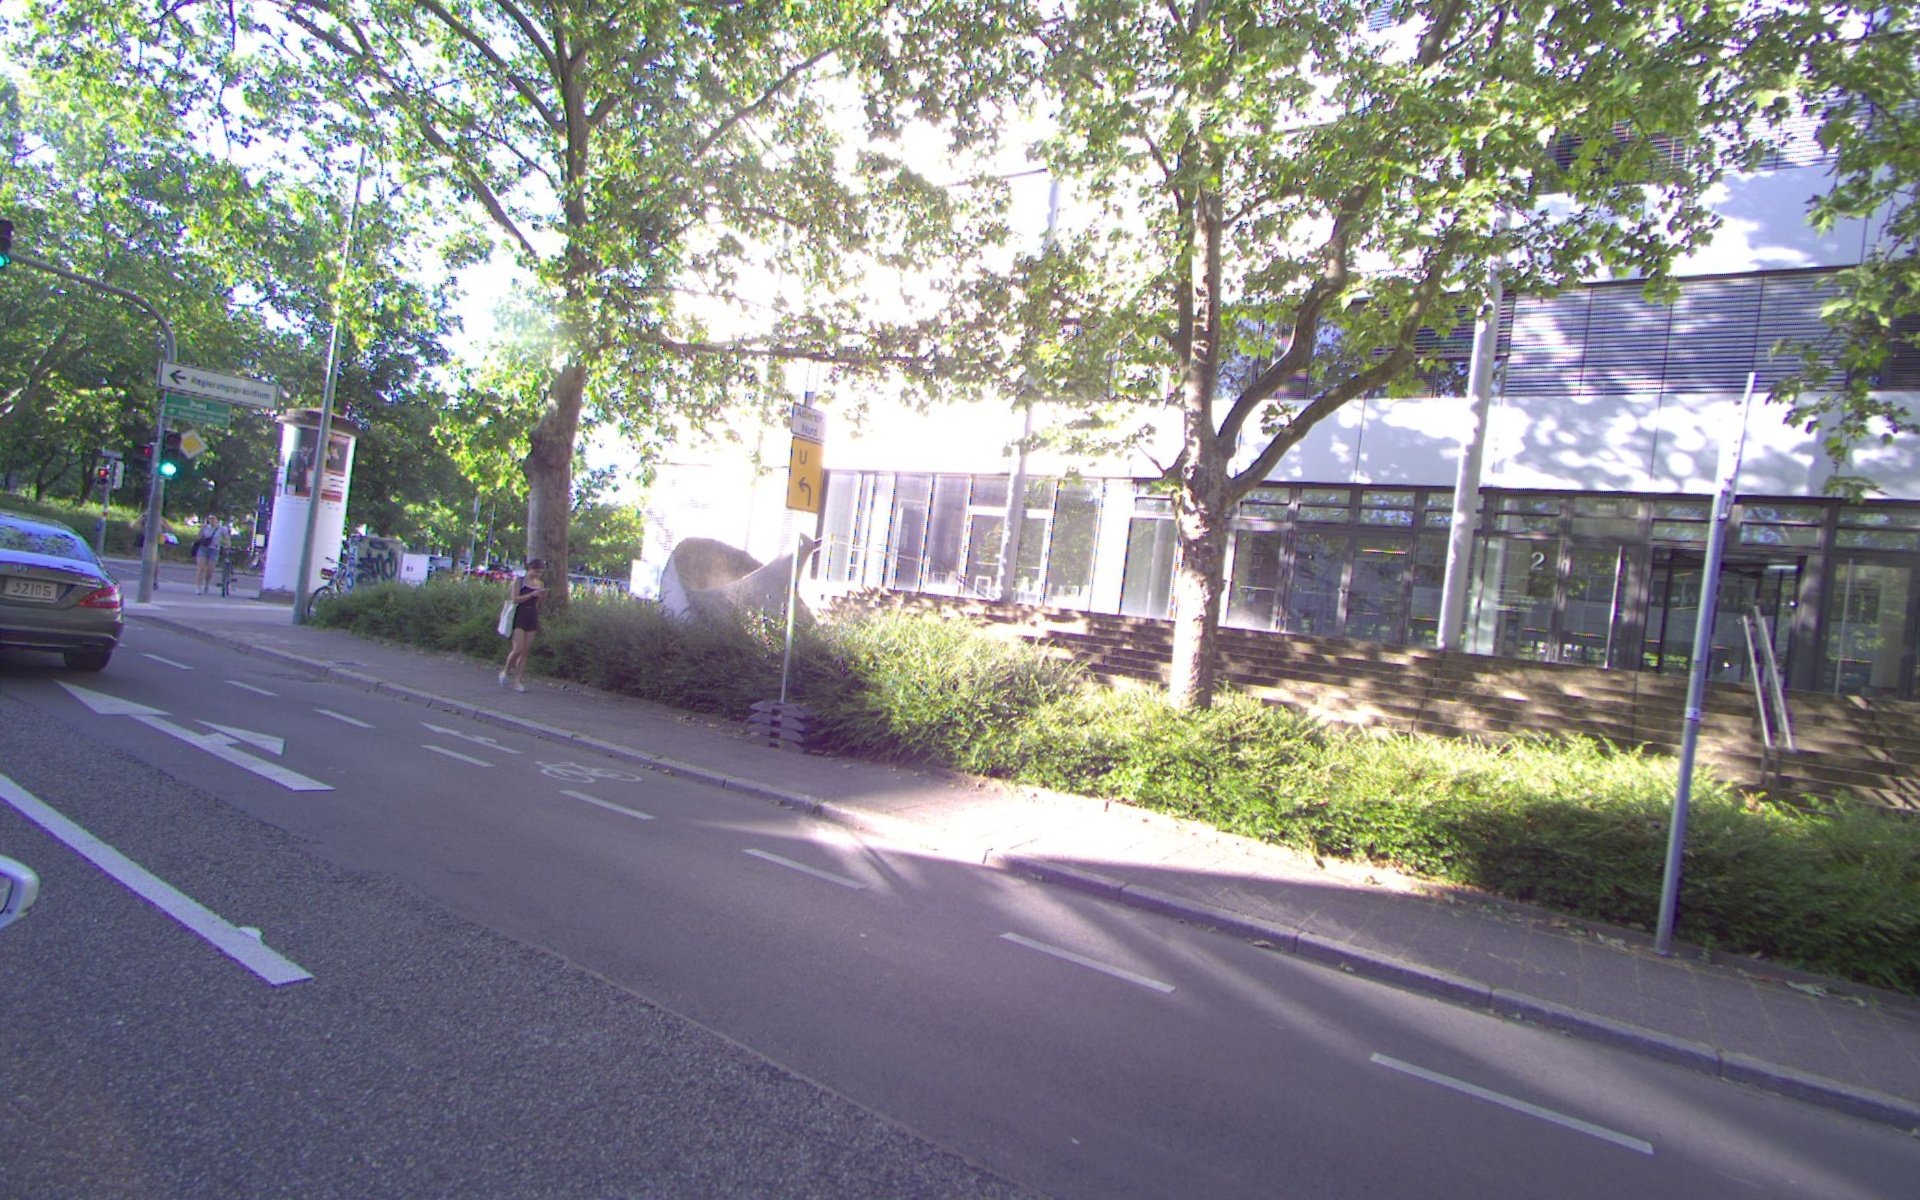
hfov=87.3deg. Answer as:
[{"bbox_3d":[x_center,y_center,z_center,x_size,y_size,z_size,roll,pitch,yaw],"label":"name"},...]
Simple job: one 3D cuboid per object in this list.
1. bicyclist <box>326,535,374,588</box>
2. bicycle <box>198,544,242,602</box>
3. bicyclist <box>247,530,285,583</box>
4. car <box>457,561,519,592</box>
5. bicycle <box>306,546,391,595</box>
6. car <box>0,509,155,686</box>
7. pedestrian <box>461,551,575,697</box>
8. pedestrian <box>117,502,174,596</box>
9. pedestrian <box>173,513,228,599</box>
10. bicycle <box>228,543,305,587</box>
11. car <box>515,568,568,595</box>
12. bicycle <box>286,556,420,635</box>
[{"bbox_3d":[-20.788,-1.310,34.291,0.856,1.634,0.965,6,-2,35],"label":"bicyclist"},{"bbox_3d":[-15.939,-0.596,21.656,0.522,1.113,1.721,8,-2,-41],"label":"bicycle"},{"bbox_3d":[-24.209,-1.506,35.107,0.664,1.717,0.711,7,-1,33],"label":"bicyclist"},{"bbox_3d":[-29.966,-1.488,63.870,3.733,1.499,1.633,6,-2,32],"label":"car"},{"bbox_3d":[-20.798,-0.986,34.283,0.649,1.341,2.292,6,-2,34],"label":"bicycle"},{"bbox_3d":[-9.809,-0.214,9.844,4.448,1.445,1.844,6,-2,37],"label":"car"},{"bbox_3d":[-5.414,0.294,12.330,0.893,1.651,0.798,7,1,34],"label":"pedestrian"},{"bbox_3d":[-16.868,-1.053,20.850,0.728,1.830,0.900,6,-1,-37],"label":"pedestrian"},{"bbox_3d":[-16.159,-0.935,21.401,0.681,1.717,0.959,8,-2,-43],"label":"pedestrian"},{"bbox_3d":[-24.209,-1.197,35.172,0.589,1.234,2.035,7,-2,32],"label":"bicycle"},{"bbox_3d":[-30.406,-1.320,73.071,3.733,1.485,1.575,6,-2,32],"label":"car"},{"bbox_3d":[-11.161,-0.049,18.577,0.519,1.203,1.980,7,-2,31],"label":"bicycle"}]
